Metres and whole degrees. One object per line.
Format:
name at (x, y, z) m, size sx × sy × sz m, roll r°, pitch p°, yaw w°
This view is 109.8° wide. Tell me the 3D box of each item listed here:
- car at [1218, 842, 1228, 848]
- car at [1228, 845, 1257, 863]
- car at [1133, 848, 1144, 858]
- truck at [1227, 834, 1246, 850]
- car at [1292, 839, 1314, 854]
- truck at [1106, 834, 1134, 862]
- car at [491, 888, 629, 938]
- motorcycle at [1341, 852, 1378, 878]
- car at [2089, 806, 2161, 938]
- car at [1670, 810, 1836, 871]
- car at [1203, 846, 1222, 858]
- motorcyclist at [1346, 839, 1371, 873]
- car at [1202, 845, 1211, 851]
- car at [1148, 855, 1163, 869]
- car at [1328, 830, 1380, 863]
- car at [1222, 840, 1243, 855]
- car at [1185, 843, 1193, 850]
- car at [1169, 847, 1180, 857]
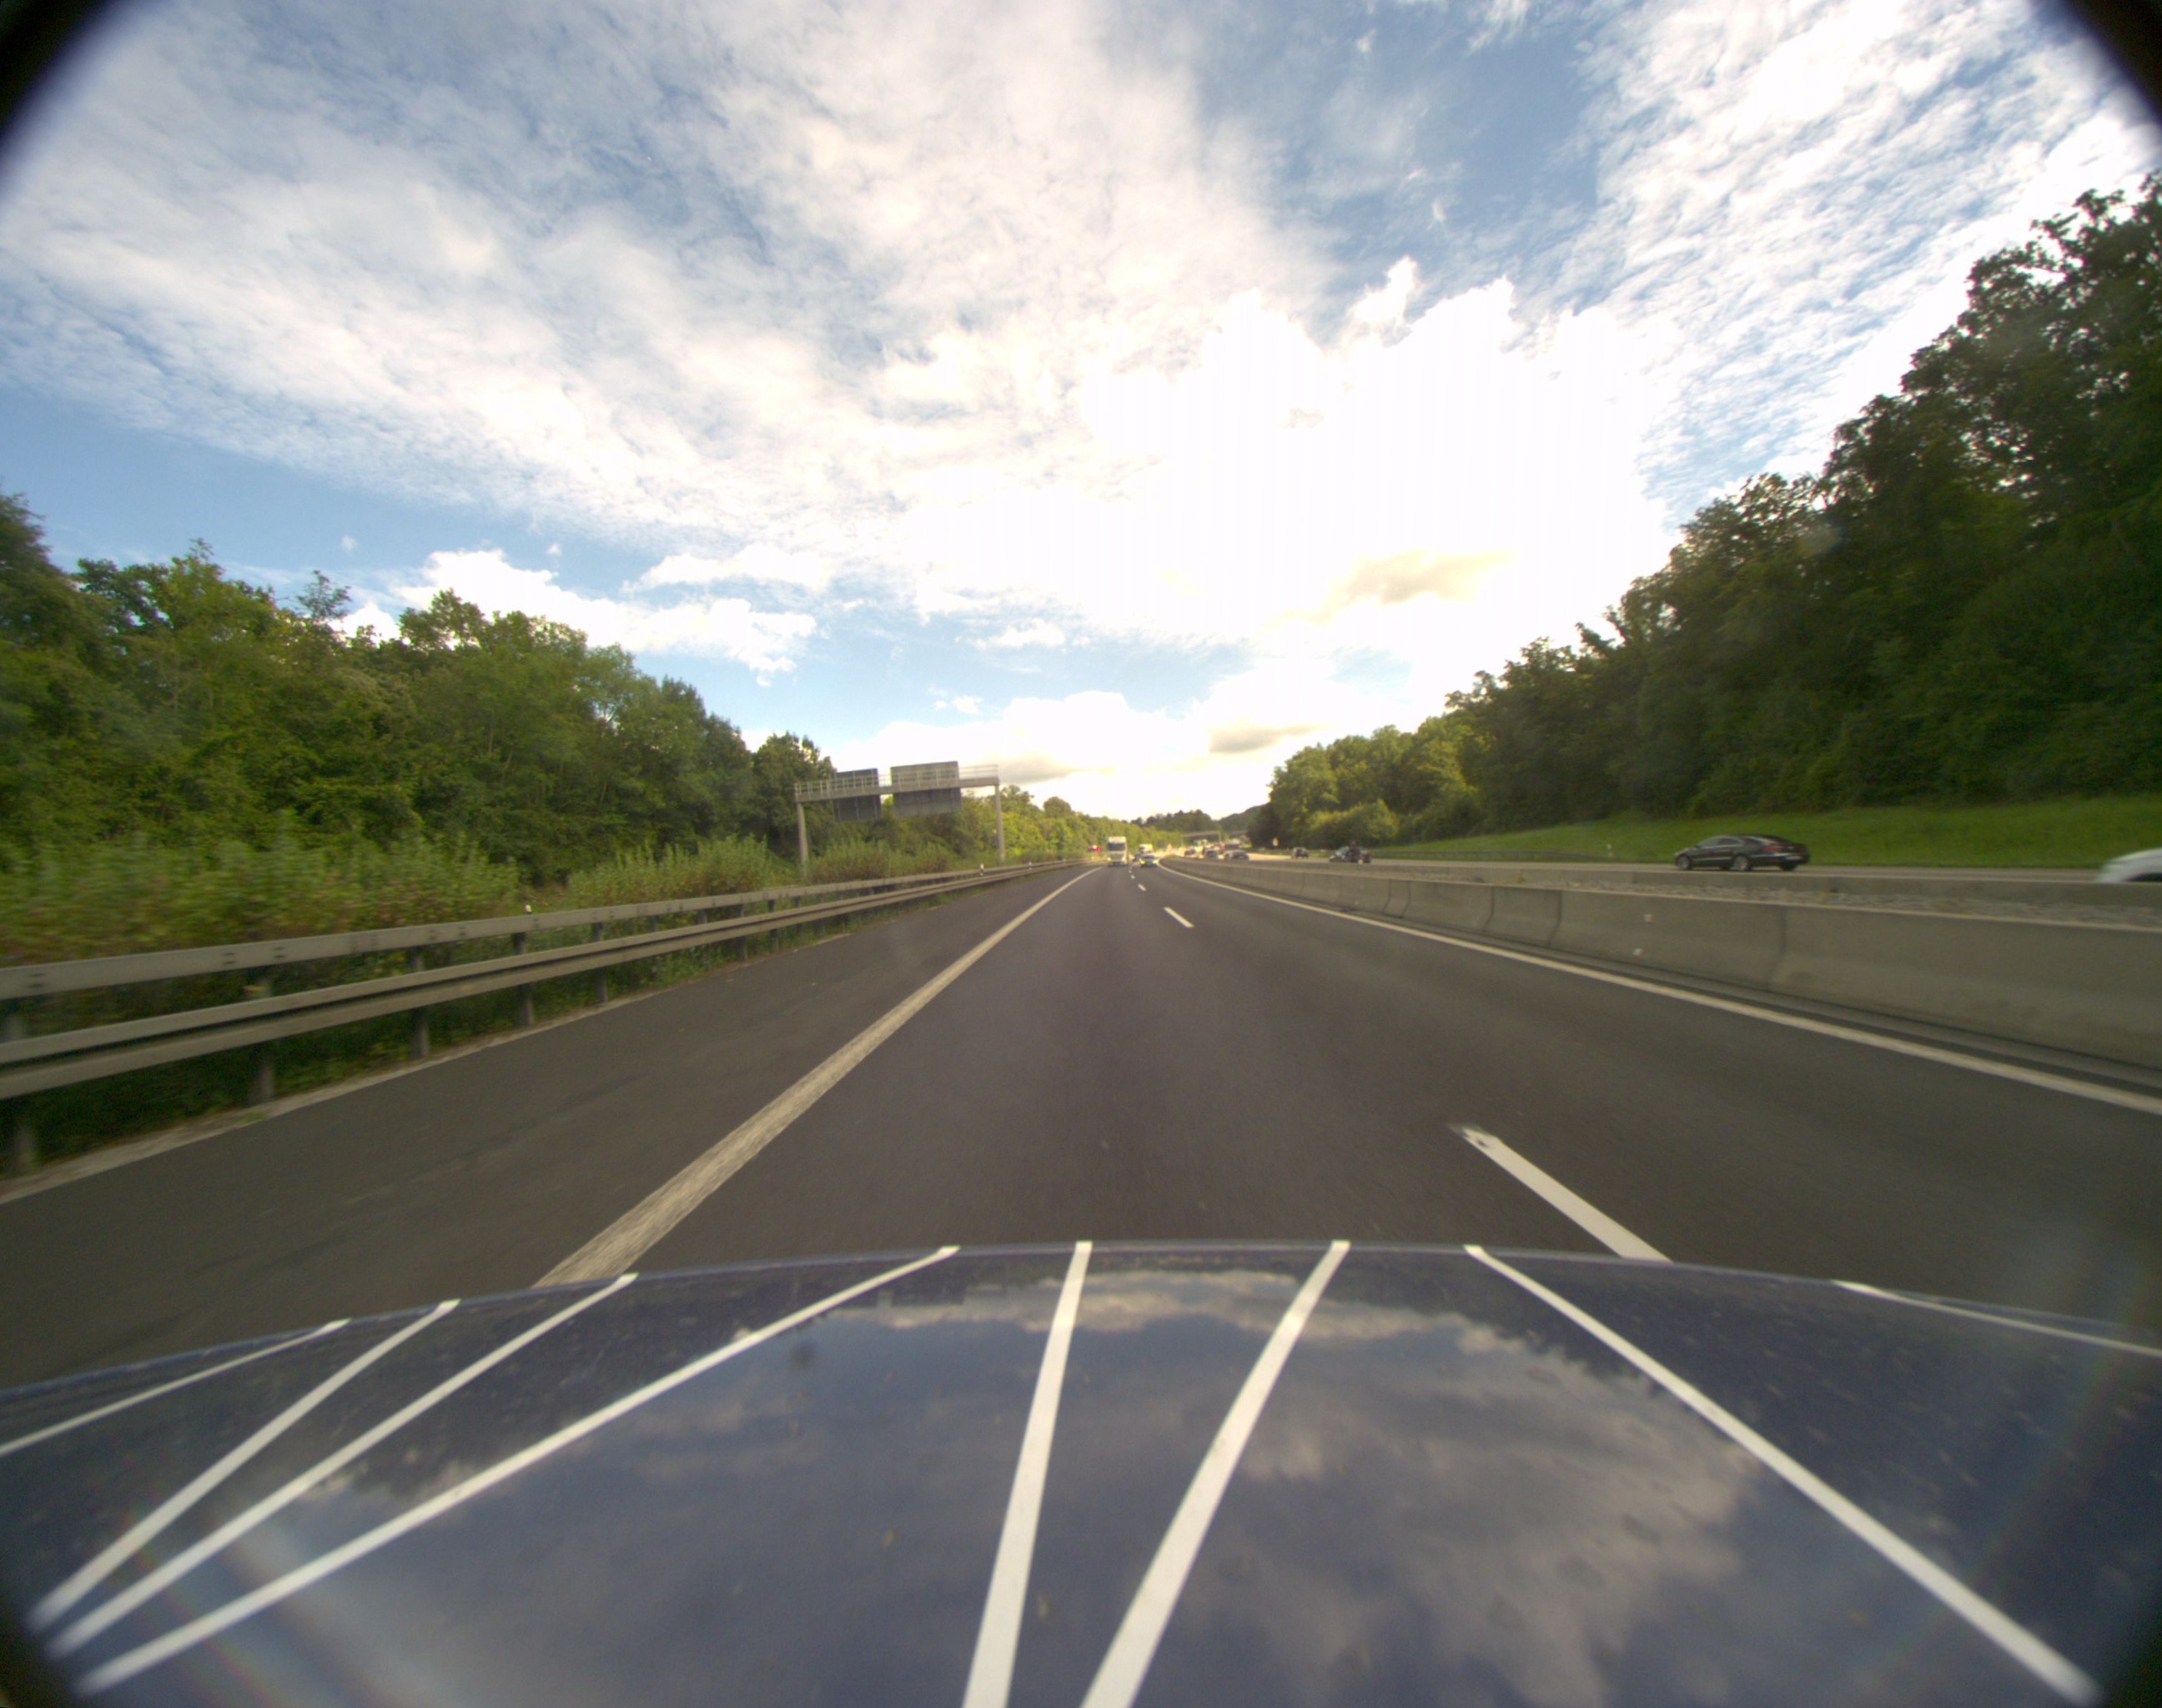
car at (34.809, -2.244, 186.411) m, size 1.904 × 1.456 × 4.343 m, roll -3°, pitch 0°, yaw 6°
car at (15.665, -0.024, 73.999) m, size 1.998 × 1.617 × 4.778 m, roll -2°, pitch 1°, yaw 3°
car at (10.775, -0.190, 142.536) m, size 1.998 × 1.798 × 3.810 m, roll -2°, pitch 0°, yaw 5°
truck at (42.505, -3.296, 207.866) m, size 3.457 × 4.103 × 13.683 m, roll -2°, pitch 1°, yaw 6°
car at (29.988, -0.995, 102.864) m, size 1.998 × 2.022 × 4.001 m, roll -2°, pitch 0°, yaw 3°
truck at (5.561, -0.874, 106.643) m, size 2.795 × 3.562 × 11.462 m, roll -3°, pitch 1°, yaw 7°
car at (-20.721, 2.303, 30.547) m, size 1.771 × 1.501 × 4.872 m, roll -3°, pitch 0°, yaw 6°
motorcycle at (13.546, 0.510, 37.047) m, size 0.924 × 1.181 × 2.640 m, roll -2°, pitch 0°, yaw 4°
car at (12.698, 0.169, 6.779) m, size 1.765 × 1.452 × 4.296 m, roll -2°, pitch 0°, yaw 2°
car at (25.104, -0.473, 28.690) m, size 2.030 × 2.022 × 4.781 m, roll -2°, pitch 0°, yaw 1°
car at (17.695, -0.314, 102.447) m, size 1.987 × 1.501 × 5.962 m, roll -3°, pitch 0°, yaw 4°
motorcyclist at (13.530, 0.091, 37.067) m, size 0.897 × 1.624 × 0.922 m, roll -2°, pitch 1°, yaw 2°
car at (32.504, -1.603, 197.326) m, size 2.041 × 1.605 × 5.041 m, roll -3°, pitch 0°, yaw 6°
car at (8.666, 0.893, 87.925) m, size 1.662 × 1.464 × 4.001 m, roll -3°, pitch 0°, yaw 6°
car at (18.290, -0.515, 51.161) m, size 1.998 × 2.002 × 4.778 m, roll -2°, pitch 1°, yaw 3°
car at (22.524, -0.973, 113.205) m, size 2.205 × 2.117 × 8.079 m, roll -3°, pitch 0°, yaw 5°
car at (27.305, -1.905, 192.524) m, size 1.805 × 1.597 × 4.484 m, roll -3°, pitch 0°, yaw 4°
car at (19.860, -0.364, 161.591) m, size 1.998 × 2.022 × 4.002 m, roll -2°, pitch 0°, yaw 6°
